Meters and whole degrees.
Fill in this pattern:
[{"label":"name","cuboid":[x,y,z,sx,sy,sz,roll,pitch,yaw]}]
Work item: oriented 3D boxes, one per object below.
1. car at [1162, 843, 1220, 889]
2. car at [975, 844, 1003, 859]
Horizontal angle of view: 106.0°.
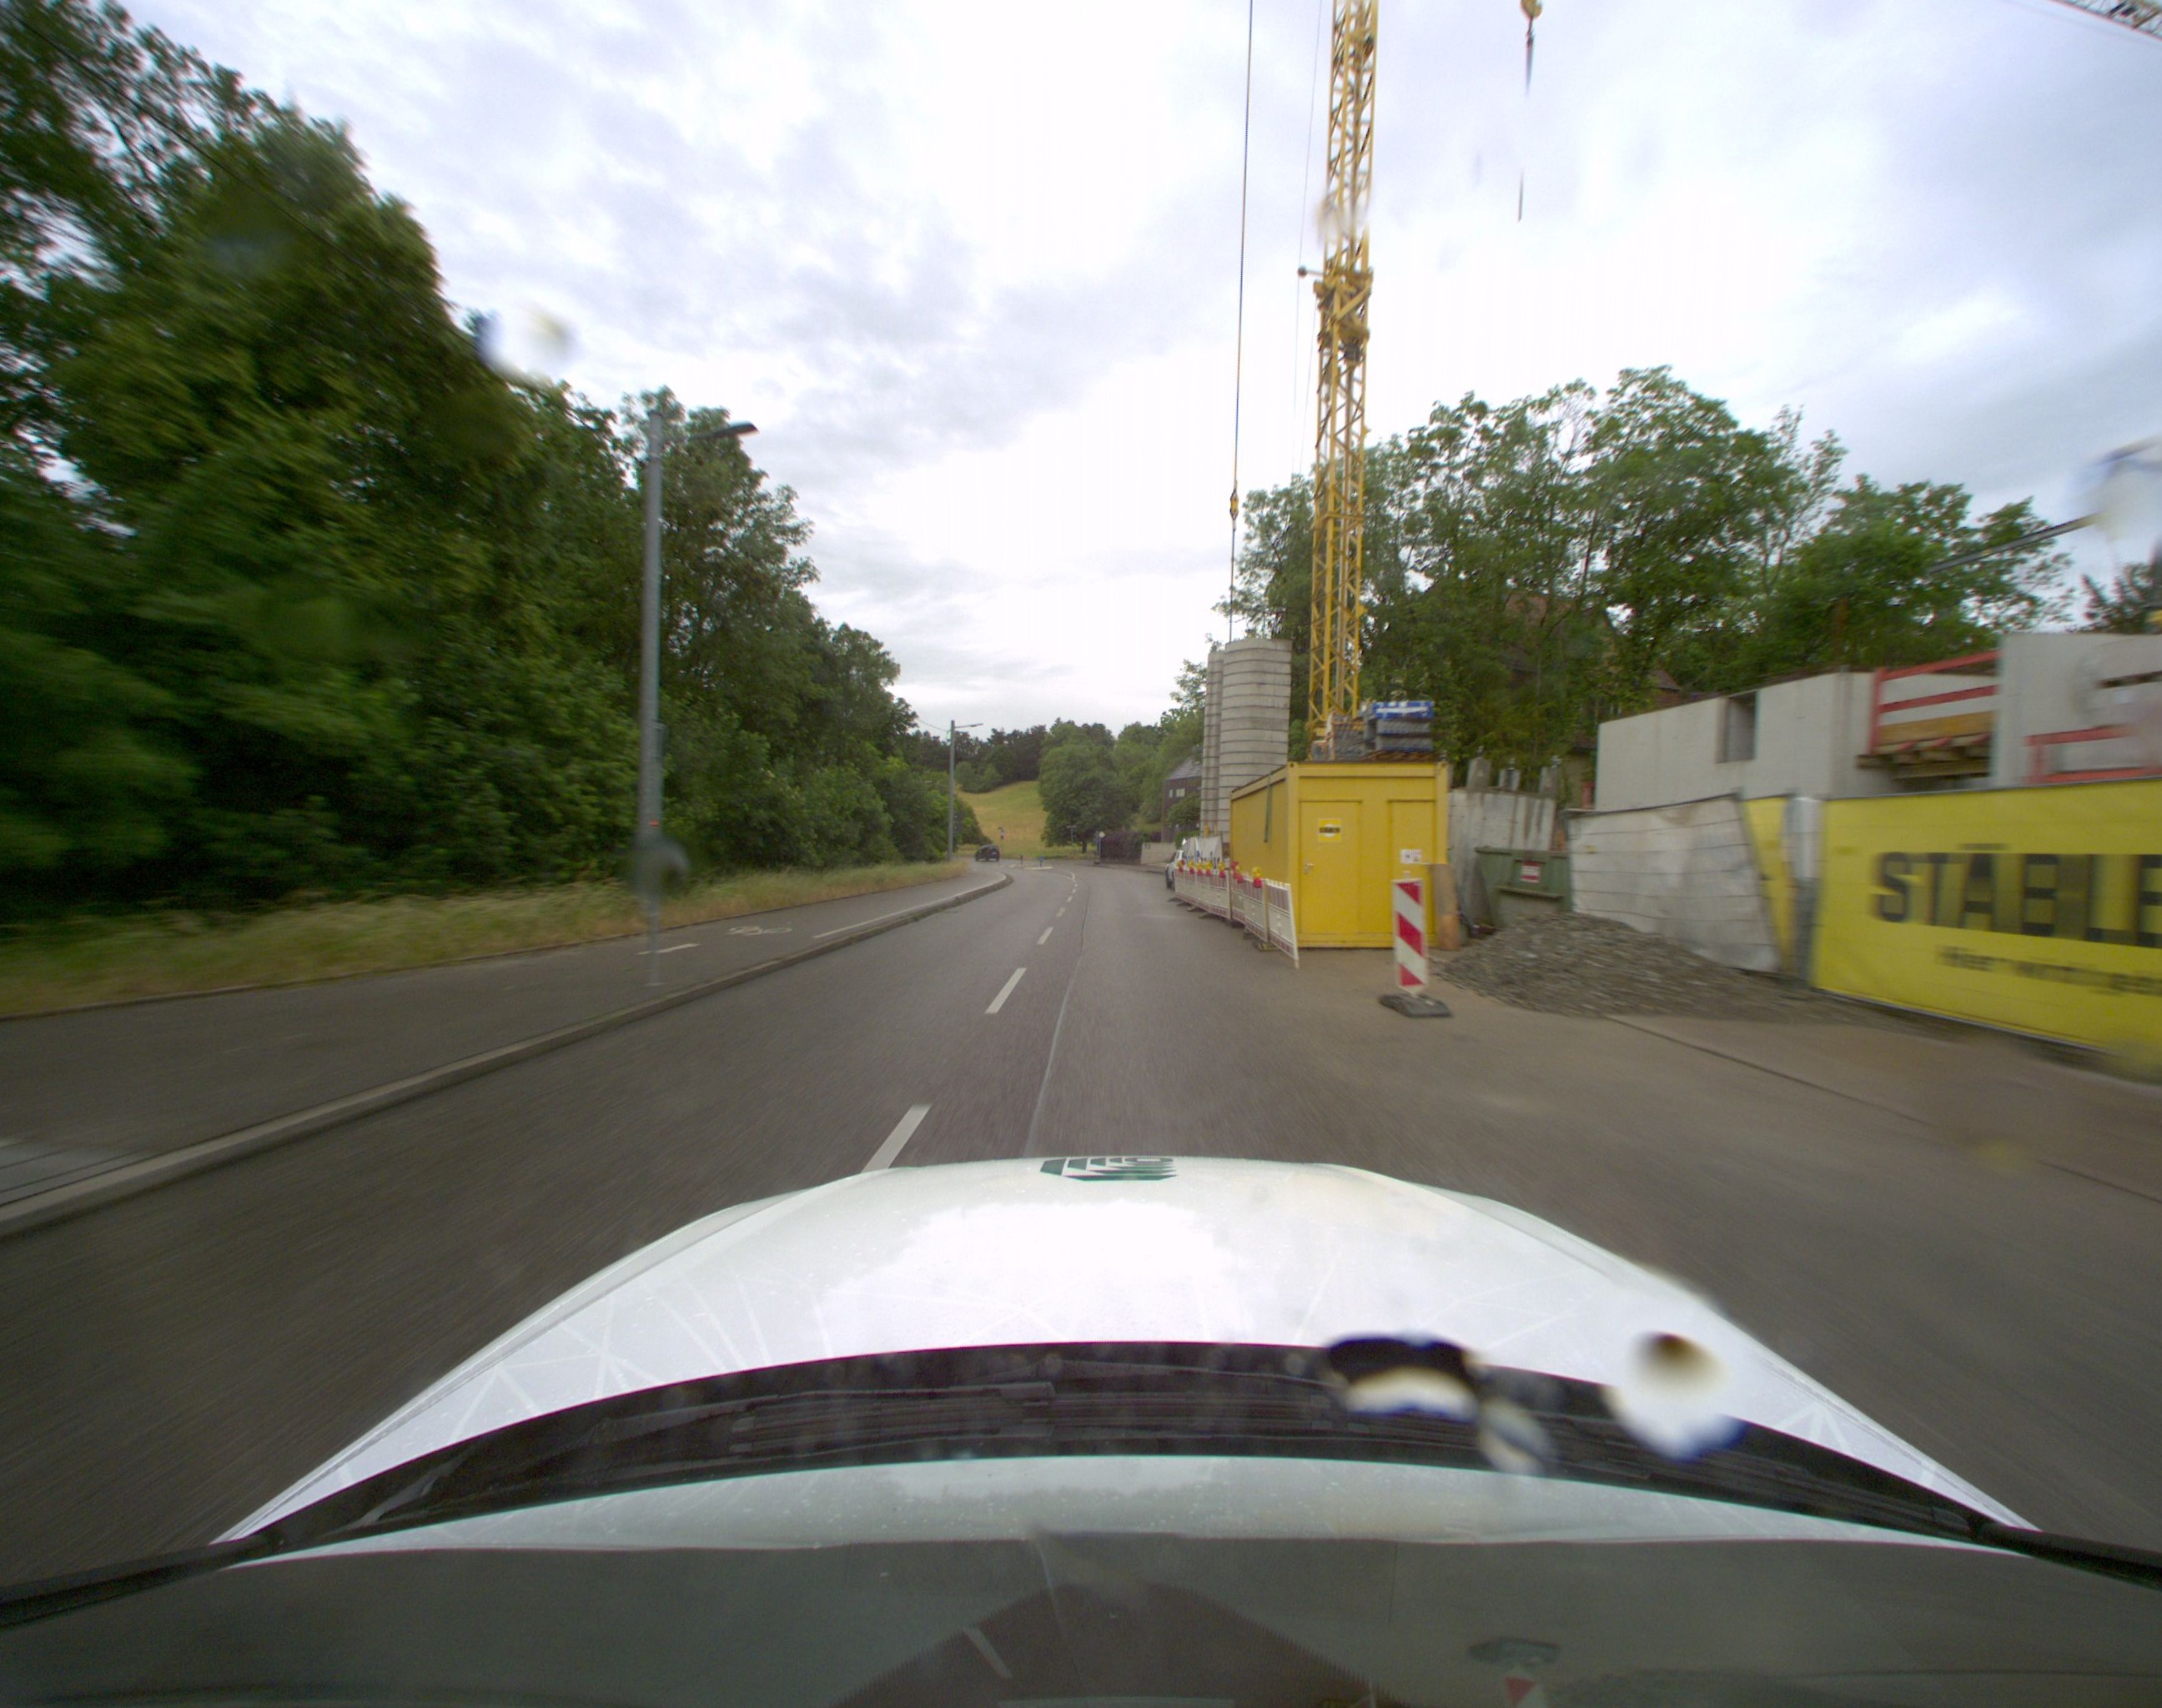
[{"label":"car","cuboid":[4.355,0.446,32.866,1.739,1.706,4.501,-1,0,0]},{"label":"car","cuboid":[-10.614,-0.273,93.390,1.942,1.751,3.965,0,0,-27]}]
